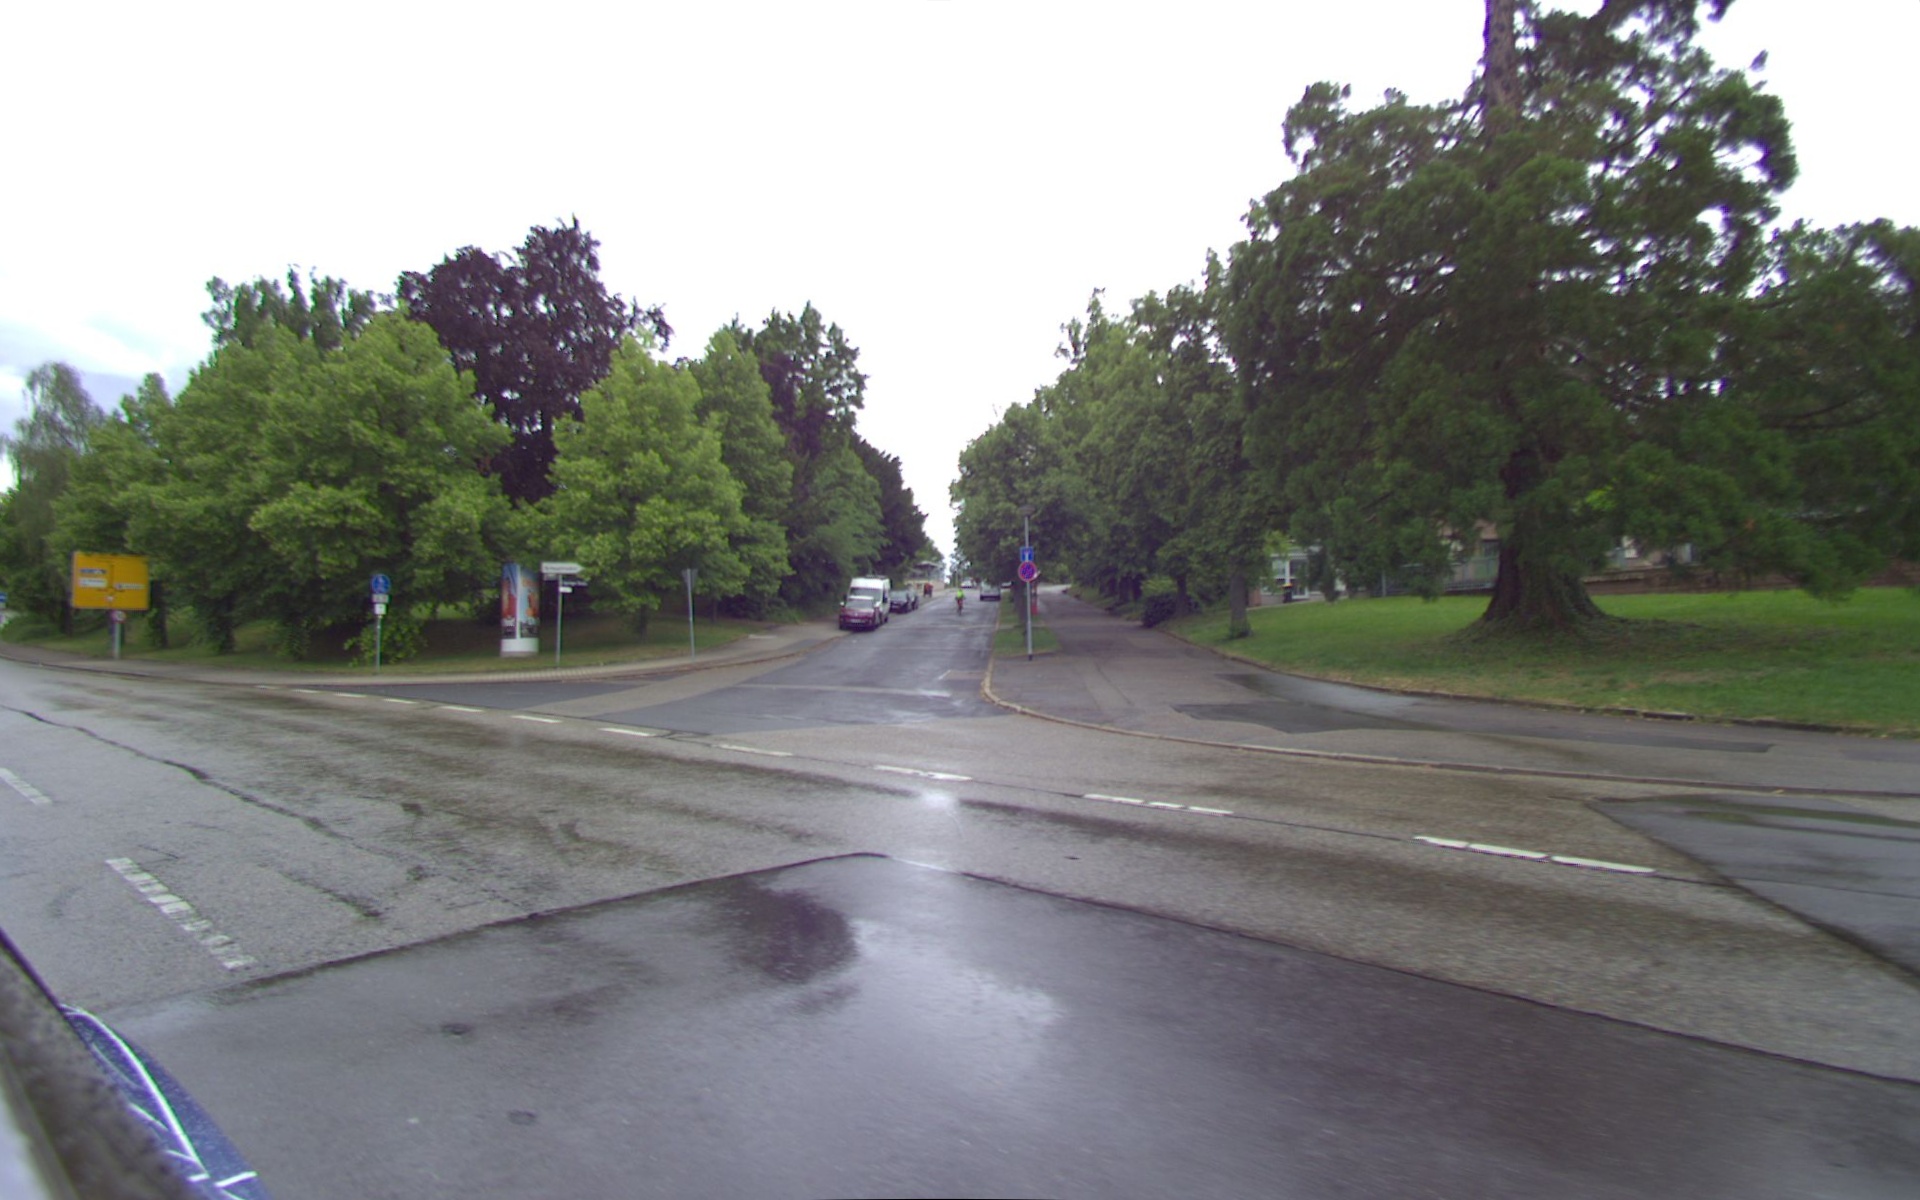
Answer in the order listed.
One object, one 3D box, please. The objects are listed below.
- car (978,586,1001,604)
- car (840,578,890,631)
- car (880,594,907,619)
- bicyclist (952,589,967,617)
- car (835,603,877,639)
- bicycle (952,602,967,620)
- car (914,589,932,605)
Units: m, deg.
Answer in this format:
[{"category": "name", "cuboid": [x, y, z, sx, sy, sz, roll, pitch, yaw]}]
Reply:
[{"category": "car", "cuboid": [2.871, -0.447, 97.893, 1.853, 1.682, 4.195, -1, 0, 7]}, {"category": "car", "cuboid": [-5.171, 0.279, 55.828, 2.128, 2.720, 5.668, 0, -1, 1]}, {"category": "car", "cuboid": [-4.624, 0.472, 70.229, 1.800, 1.681, 4.004, 0, -1, -5]}, {"category": "bicyclist", "cuboid": [-0.050, 0.229, 66.016, 0.842, 1.769, 1.286, 2, -1, -3]}, {"category": "car", "cuboid": [-5.123, 1.026, 50.368, 1.948, 1.681, 4.003, 0, -1, -4]}, {"category": "bicycle", "cuboid": [-0.071, 0.737, 66.127, 0.842, 1.164, 2.039, 2, -1, -3]}, {"category": "car", "cuboid": [-3.990, -0.271, 109.988, 1.802, 1.681, 3.999, 0, -1, 1]}]
